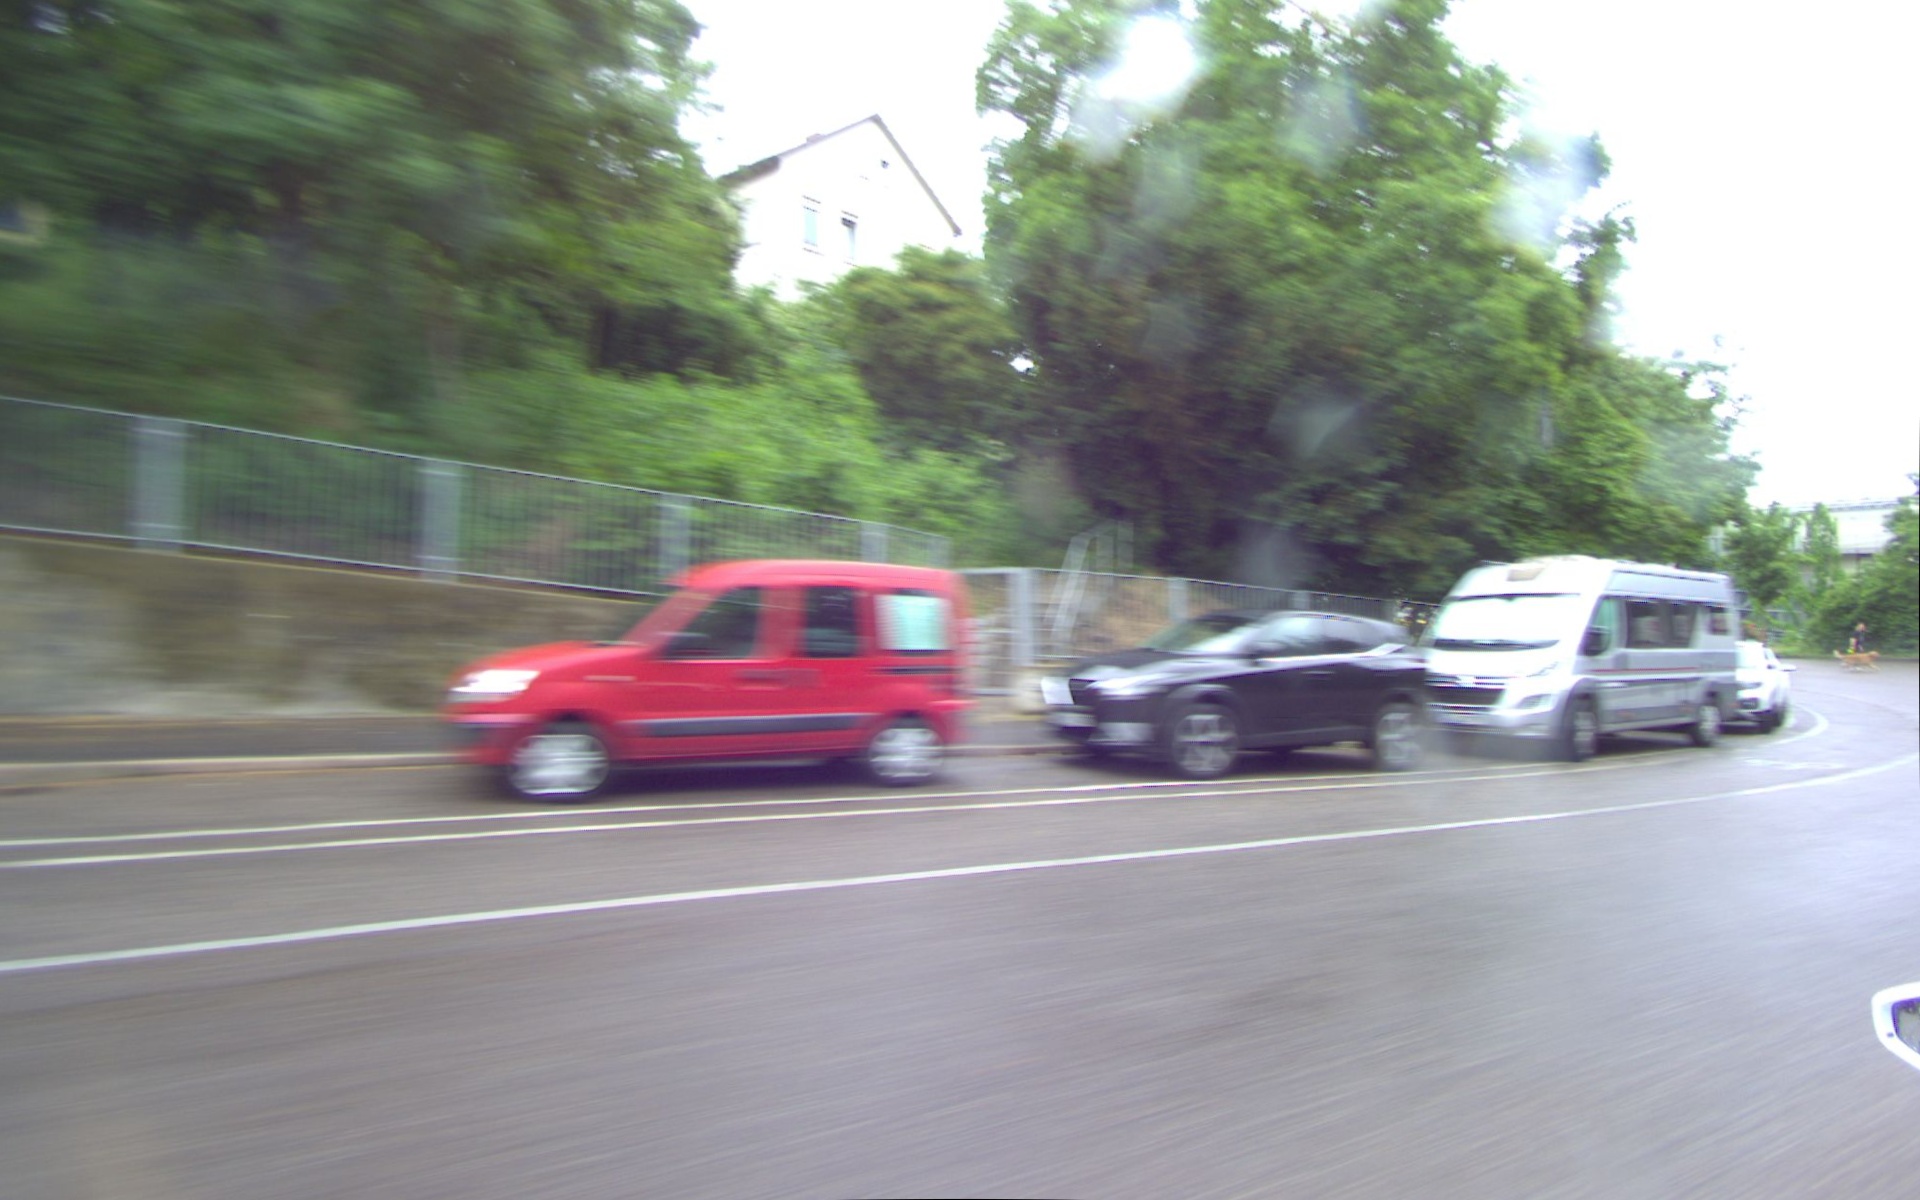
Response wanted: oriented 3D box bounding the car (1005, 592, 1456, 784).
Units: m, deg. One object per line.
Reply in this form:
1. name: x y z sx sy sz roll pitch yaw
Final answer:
1. car: 2.851 0.848 10.487 4.341 1.640 1.986 2 -1 -27

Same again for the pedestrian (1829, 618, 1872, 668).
1. pedestrian: 31.698 1.533 35.743 0.798 1.683 0.915 -3 -2 -39

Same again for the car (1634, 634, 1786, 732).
1. car: 13.829 1.483 18.440 1.784 1.603 4.003 -4 -5 42

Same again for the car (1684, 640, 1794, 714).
1. car: 17.483 1.668 22.474 1.732 1.475 4.028 -4 -4 40

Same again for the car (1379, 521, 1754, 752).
1. car: 8.563 0.644 13.904 6.285 2.582 2.061 4 -6 -35

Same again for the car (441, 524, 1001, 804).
1. car: -1.880 0.500 8.169 4.085 1.791 1.743 3 -1 -28
